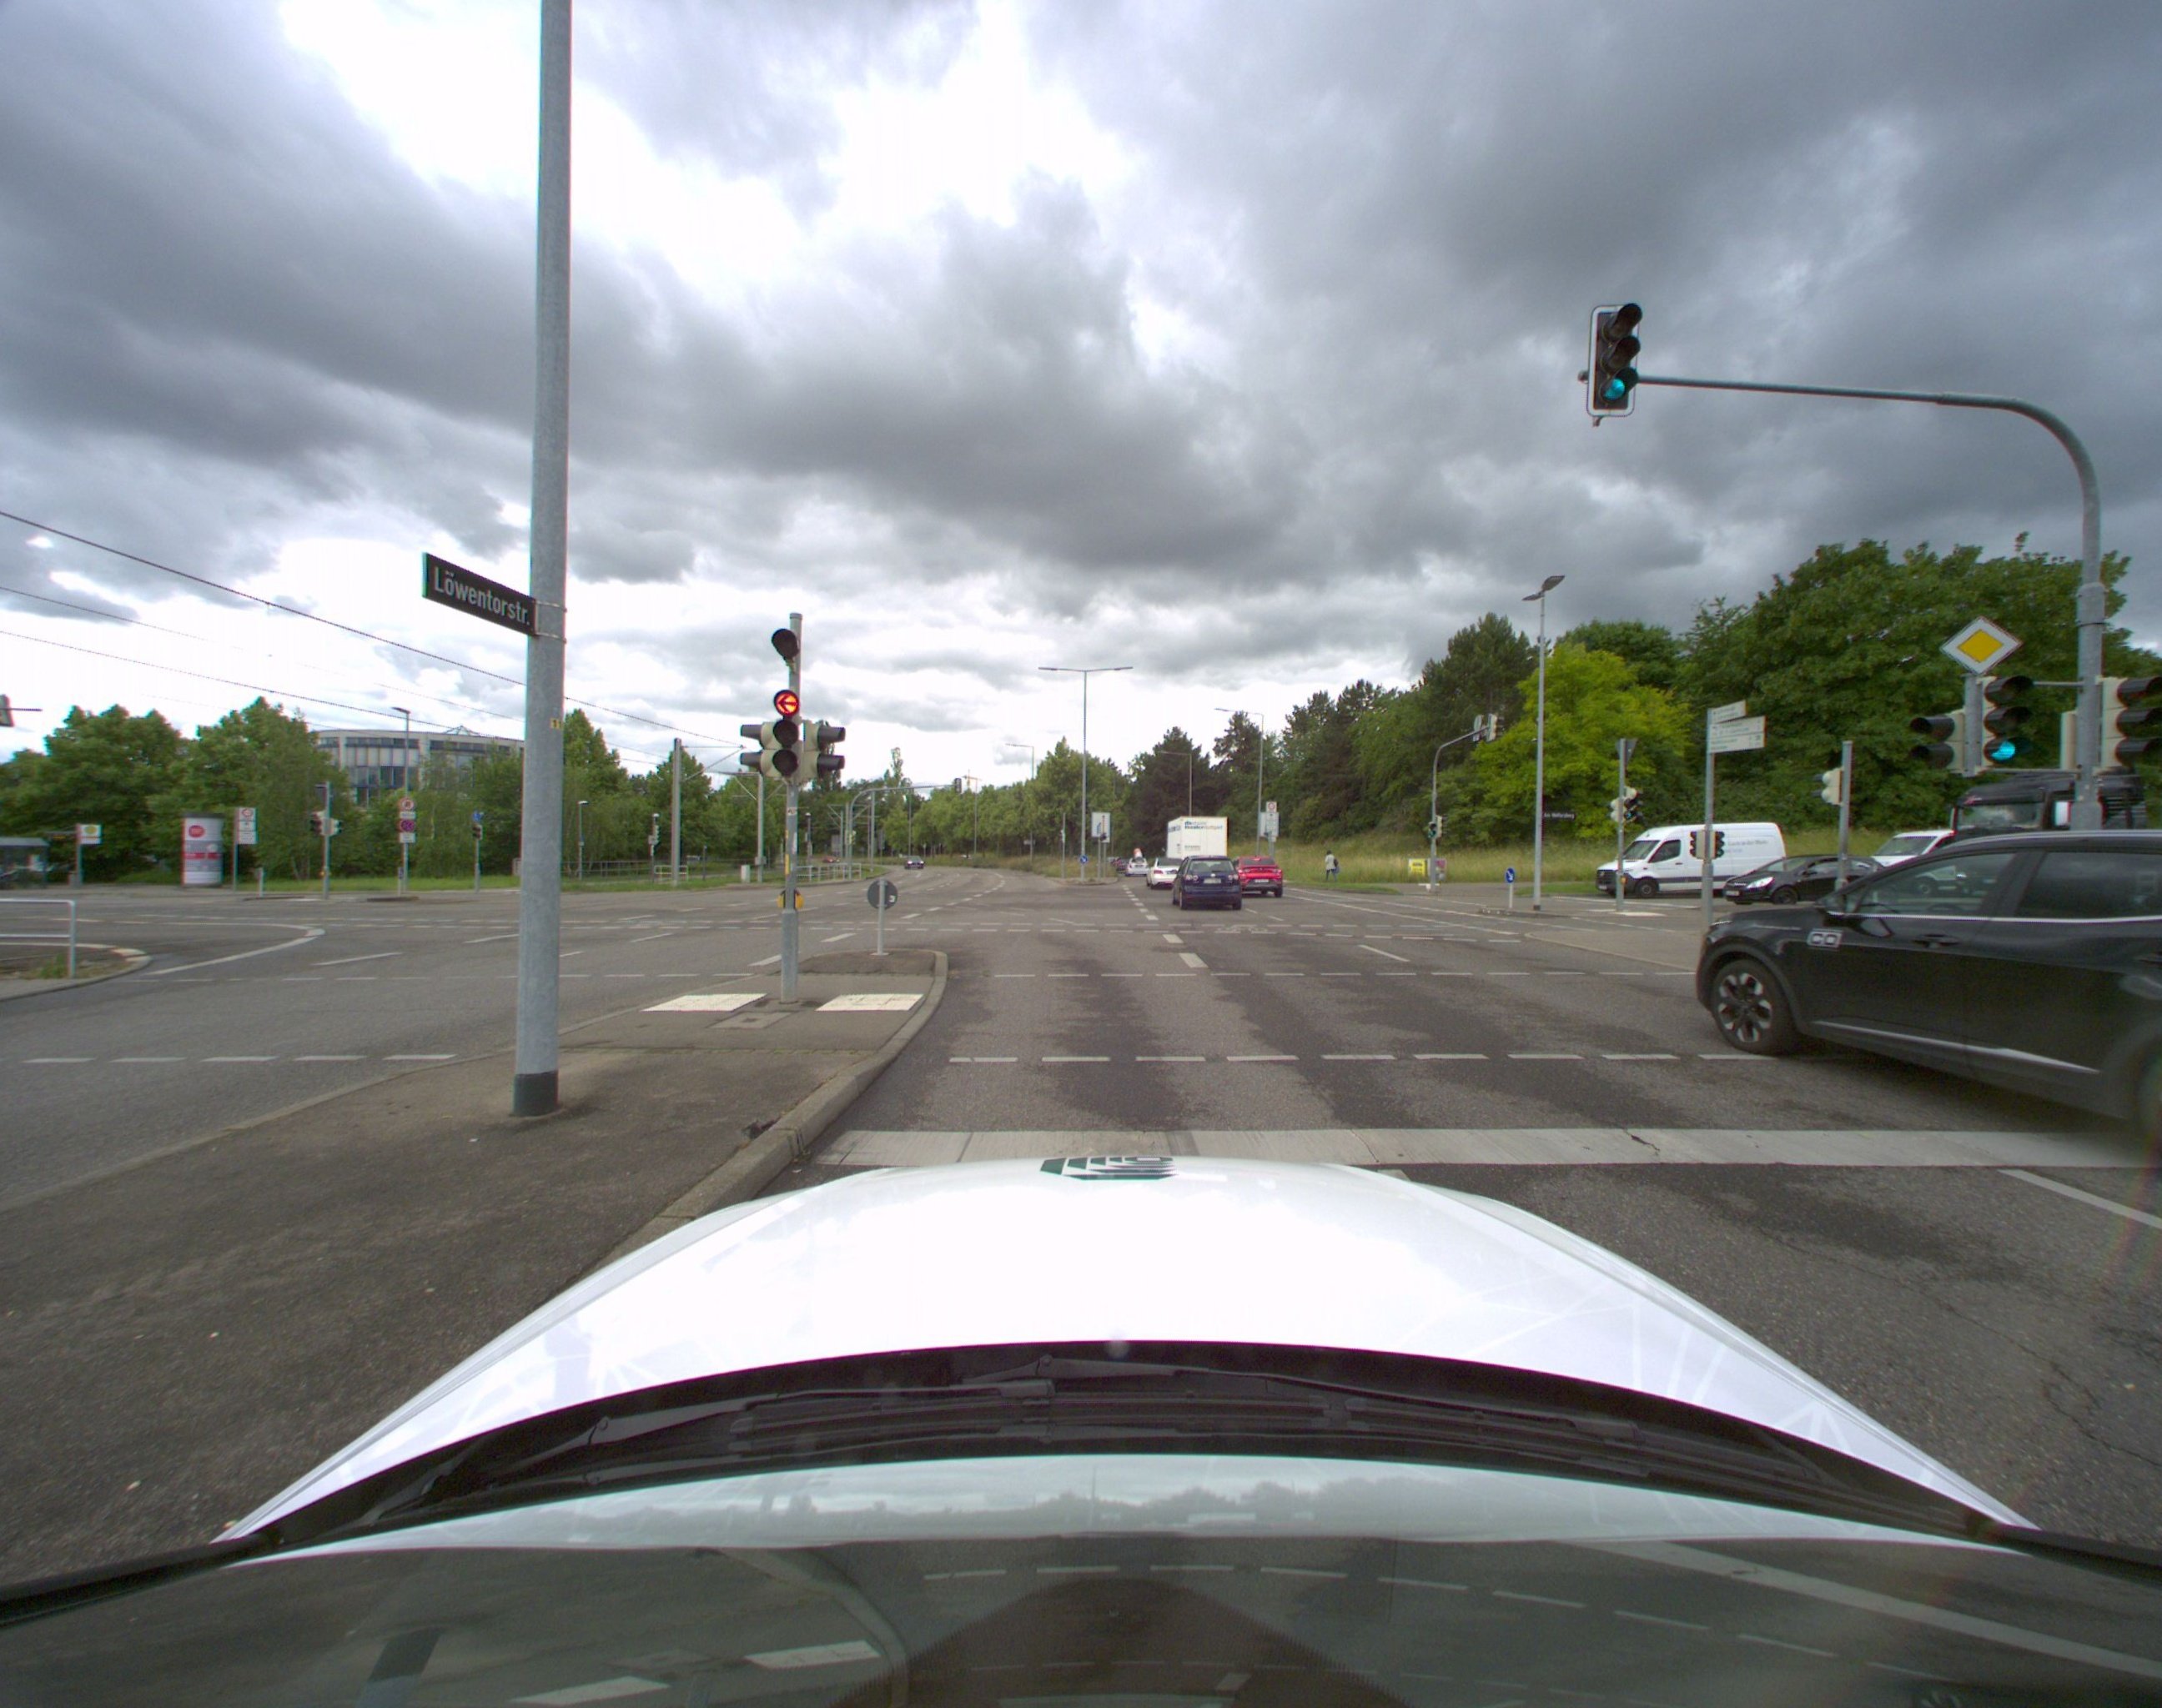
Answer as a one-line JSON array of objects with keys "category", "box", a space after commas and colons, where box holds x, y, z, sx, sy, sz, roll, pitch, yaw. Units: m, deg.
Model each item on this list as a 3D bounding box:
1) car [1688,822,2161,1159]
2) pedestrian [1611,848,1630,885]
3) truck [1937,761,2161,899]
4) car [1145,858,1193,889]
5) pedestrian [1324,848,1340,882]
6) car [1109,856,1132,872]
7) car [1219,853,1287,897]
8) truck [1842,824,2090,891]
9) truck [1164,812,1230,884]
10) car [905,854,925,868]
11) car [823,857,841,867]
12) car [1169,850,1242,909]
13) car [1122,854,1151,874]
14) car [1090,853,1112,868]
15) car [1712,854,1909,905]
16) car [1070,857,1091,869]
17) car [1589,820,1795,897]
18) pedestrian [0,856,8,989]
[{"category": "car", "box": [5.825, 0.622, 4.567, 1.786, 1.530, 4.220, 0, -1, 2]}, {"category": "pedestrian", "box": [23.729, 0.546, 35.815, 0.638, 1.612, 0.718, -1, -1, 35]}, {"category": "truck", "box": [27.916, -0.643, 22.237, 5.971, 3.486, 2.694, -1, -1, 4]}, {"category": "car", "box": [4.126, 0.899, 38.837, 1.794, 1.412, 4.316, 0, -1, 0]}, {"category": "pedestrian", "box": [12.307, 0.543, 39.889, 0.640, 1.662, 0.715, -1, -1, 8]}, {"category": "car", "box": [3.740, 0.928, 76.931, 1.622, 1.493, 3.829, 0, 0, -6]}, {"category": "car", "box": [6.534, 0.754, 31.394, 1.840, 1.530, 4.378, 0, 0, 2]}, {"category": "truck", "box": [30.951, 0.130, 28.673, 5.992, 2.230, 2.165, 0, -1, 5]}, {"category": "truck", "box": [6.850, -0.373, 49.603, 2.793, 3.903, 10.184, 0, 0, 1]}, {"category": "car", "box": [-19.818, 0.815, 97.144, 1.800, 1.587, 3.975, 0, -1, -18]}, {"category": "car", "box": [-43.959, 1.390, 143.959, 1.885, 1.791, 3.956, 0, -1, -35]}, {"category": "car", "box": [3.663, 0.721, 24.520, 1.658, 1.598, 3.997, 0, -1, 1]}, {"category": "car", "box": [4.251, 0.780, 62.474, 1.817, 1.506, 3.490, 0, -1, -3]}, {"category": "car", "box": [2.049, 0.661, 85.131, 1.584, 1.493, 3.430, 0, 0, -11]}, {"category": "car", "box": [20.233, 0.699, 22.715, 3.859, 1.338, 1.698, 0, -1, 4]}, {"category": "car", "box": [-0.127, 1.076, 99.487, 1.748, 1.508, 4.030, 0, 0, -12]}, {"category": "car", "box": [21.889, 0.163, 29.386, 5.780, 2.630, 2.002, 0, -1, 3]}, {"category": "pedestrian", "box": [-12.787, 0.794, 9.092, 0.632, 1.536, 0.719, 0, -1, -2]}]
